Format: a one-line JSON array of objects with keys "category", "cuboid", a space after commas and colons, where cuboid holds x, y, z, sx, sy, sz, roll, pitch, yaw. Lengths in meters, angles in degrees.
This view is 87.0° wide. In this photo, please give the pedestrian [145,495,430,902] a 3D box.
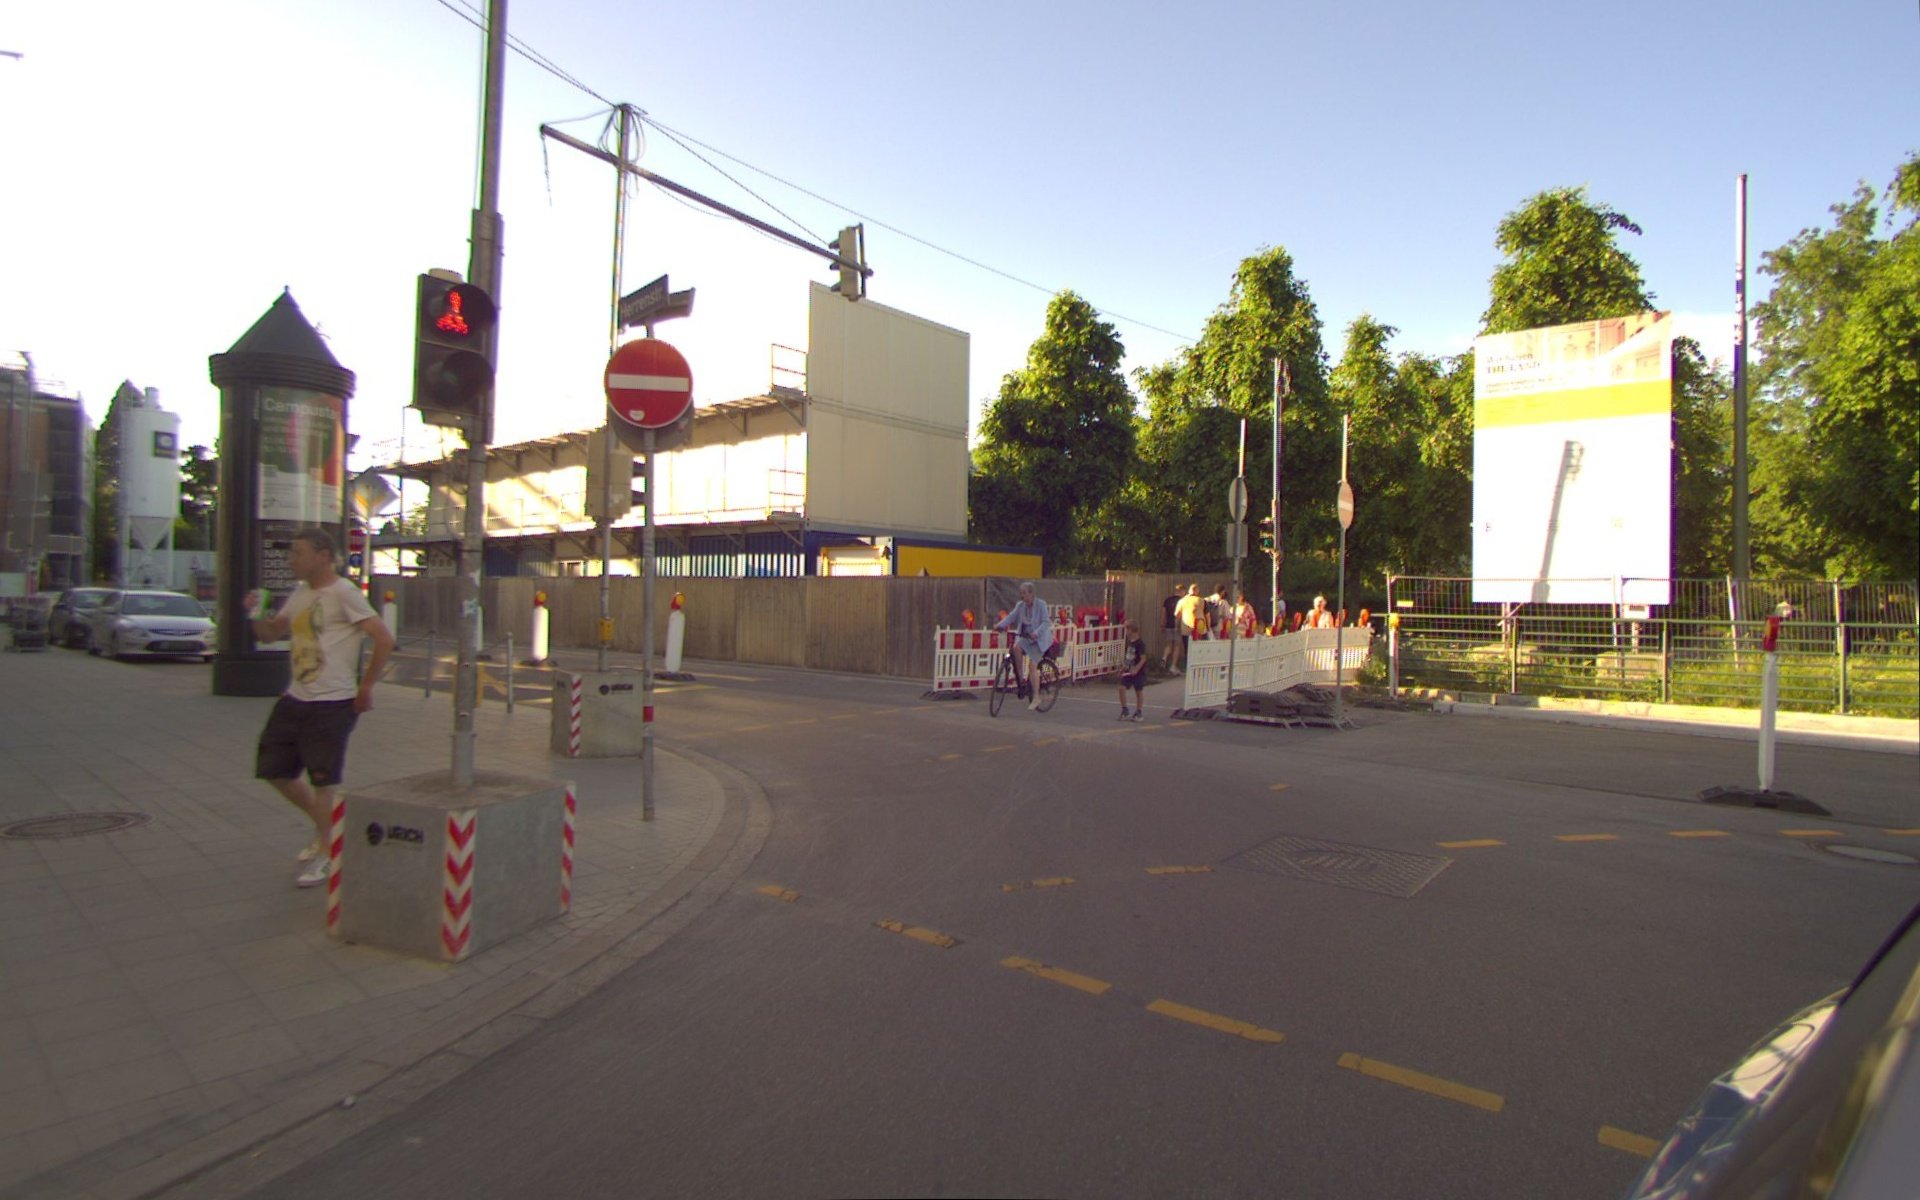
[{"category": "pedestrian", "cuboid": [-3.294, 0.417, 4.983, 0.794, 1.750, 0.964, 1, 0, 38]}]

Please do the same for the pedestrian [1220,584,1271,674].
[{"category": "pedestrian", "cuboid": [5.337, 0.529, 18.929, 0.641, 1.624, 0.728, 2, 2, 42]}]

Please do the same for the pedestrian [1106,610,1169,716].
[{"category": "pedestrian", "cuboid": [2.303, 0.807, 13.120, 0.492, 1.316, 0.611, 2, -2, 41]}]

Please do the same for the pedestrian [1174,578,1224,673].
[{"category": "pedestrian", "cuboid": [4.477, 0.456, 18.972, 0.619, 1.737, 0.728, 2, 2, 42]}]

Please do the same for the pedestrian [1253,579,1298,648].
[{"category": "pedestrian", "cuboid": [6.981, 0.290, 22.372, 0.663, 1.480, 0.759, 2, 2, 42]}]

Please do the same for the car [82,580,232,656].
[{"category": "car", "cuboid": [-17.233, 0.388, 21.651, 3.985, 1.485, 1.900, 0, -2, 43]}]

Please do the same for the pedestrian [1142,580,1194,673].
[{"category": "pedestrian", "cuboid": [4.139, 0.506, 20.124, 0.721, 1.793, 0.728, 2, 2, 42]}]

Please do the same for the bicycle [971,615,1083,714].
[{"category": "bicycle", "cuboid": [0.927, 0.814, 13.470, 0.474, 1.216, 1.972, 1, 0, 37]}]

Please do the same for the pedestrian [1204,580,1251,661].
[{"category": "pedestrian", "cuboid": [5.574, 0.415, 21.093, 0.663, 1.639, 0.759, 2, 2, 42]}]

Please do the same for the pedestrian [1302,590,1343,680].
[{"category": "pedestrian", "cuboid": [6.649, 0.616, 18.588, 0.657, 1.585, 0.741, 1, 2, 18]}]

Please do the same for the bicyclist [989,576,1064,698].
[{"category": "bicyclist", "cuboid": [0.879, 0.468, 13.348, 0.682, 1.535, 0.694, 1, 0, 38]}]

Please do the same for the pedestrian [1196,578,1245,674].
[{"category": "pedestrian", "cuboid": [5.041, 0.478, 19.586, 0.619, 1.793, 0.728, 2, 2, 42]}]

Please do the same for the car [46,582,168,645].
[{"category": "car", "cuboid": [-21.983, 0.360, 26.047, 3.985, 1.485, 1.900, 0, -2, 43]}]
